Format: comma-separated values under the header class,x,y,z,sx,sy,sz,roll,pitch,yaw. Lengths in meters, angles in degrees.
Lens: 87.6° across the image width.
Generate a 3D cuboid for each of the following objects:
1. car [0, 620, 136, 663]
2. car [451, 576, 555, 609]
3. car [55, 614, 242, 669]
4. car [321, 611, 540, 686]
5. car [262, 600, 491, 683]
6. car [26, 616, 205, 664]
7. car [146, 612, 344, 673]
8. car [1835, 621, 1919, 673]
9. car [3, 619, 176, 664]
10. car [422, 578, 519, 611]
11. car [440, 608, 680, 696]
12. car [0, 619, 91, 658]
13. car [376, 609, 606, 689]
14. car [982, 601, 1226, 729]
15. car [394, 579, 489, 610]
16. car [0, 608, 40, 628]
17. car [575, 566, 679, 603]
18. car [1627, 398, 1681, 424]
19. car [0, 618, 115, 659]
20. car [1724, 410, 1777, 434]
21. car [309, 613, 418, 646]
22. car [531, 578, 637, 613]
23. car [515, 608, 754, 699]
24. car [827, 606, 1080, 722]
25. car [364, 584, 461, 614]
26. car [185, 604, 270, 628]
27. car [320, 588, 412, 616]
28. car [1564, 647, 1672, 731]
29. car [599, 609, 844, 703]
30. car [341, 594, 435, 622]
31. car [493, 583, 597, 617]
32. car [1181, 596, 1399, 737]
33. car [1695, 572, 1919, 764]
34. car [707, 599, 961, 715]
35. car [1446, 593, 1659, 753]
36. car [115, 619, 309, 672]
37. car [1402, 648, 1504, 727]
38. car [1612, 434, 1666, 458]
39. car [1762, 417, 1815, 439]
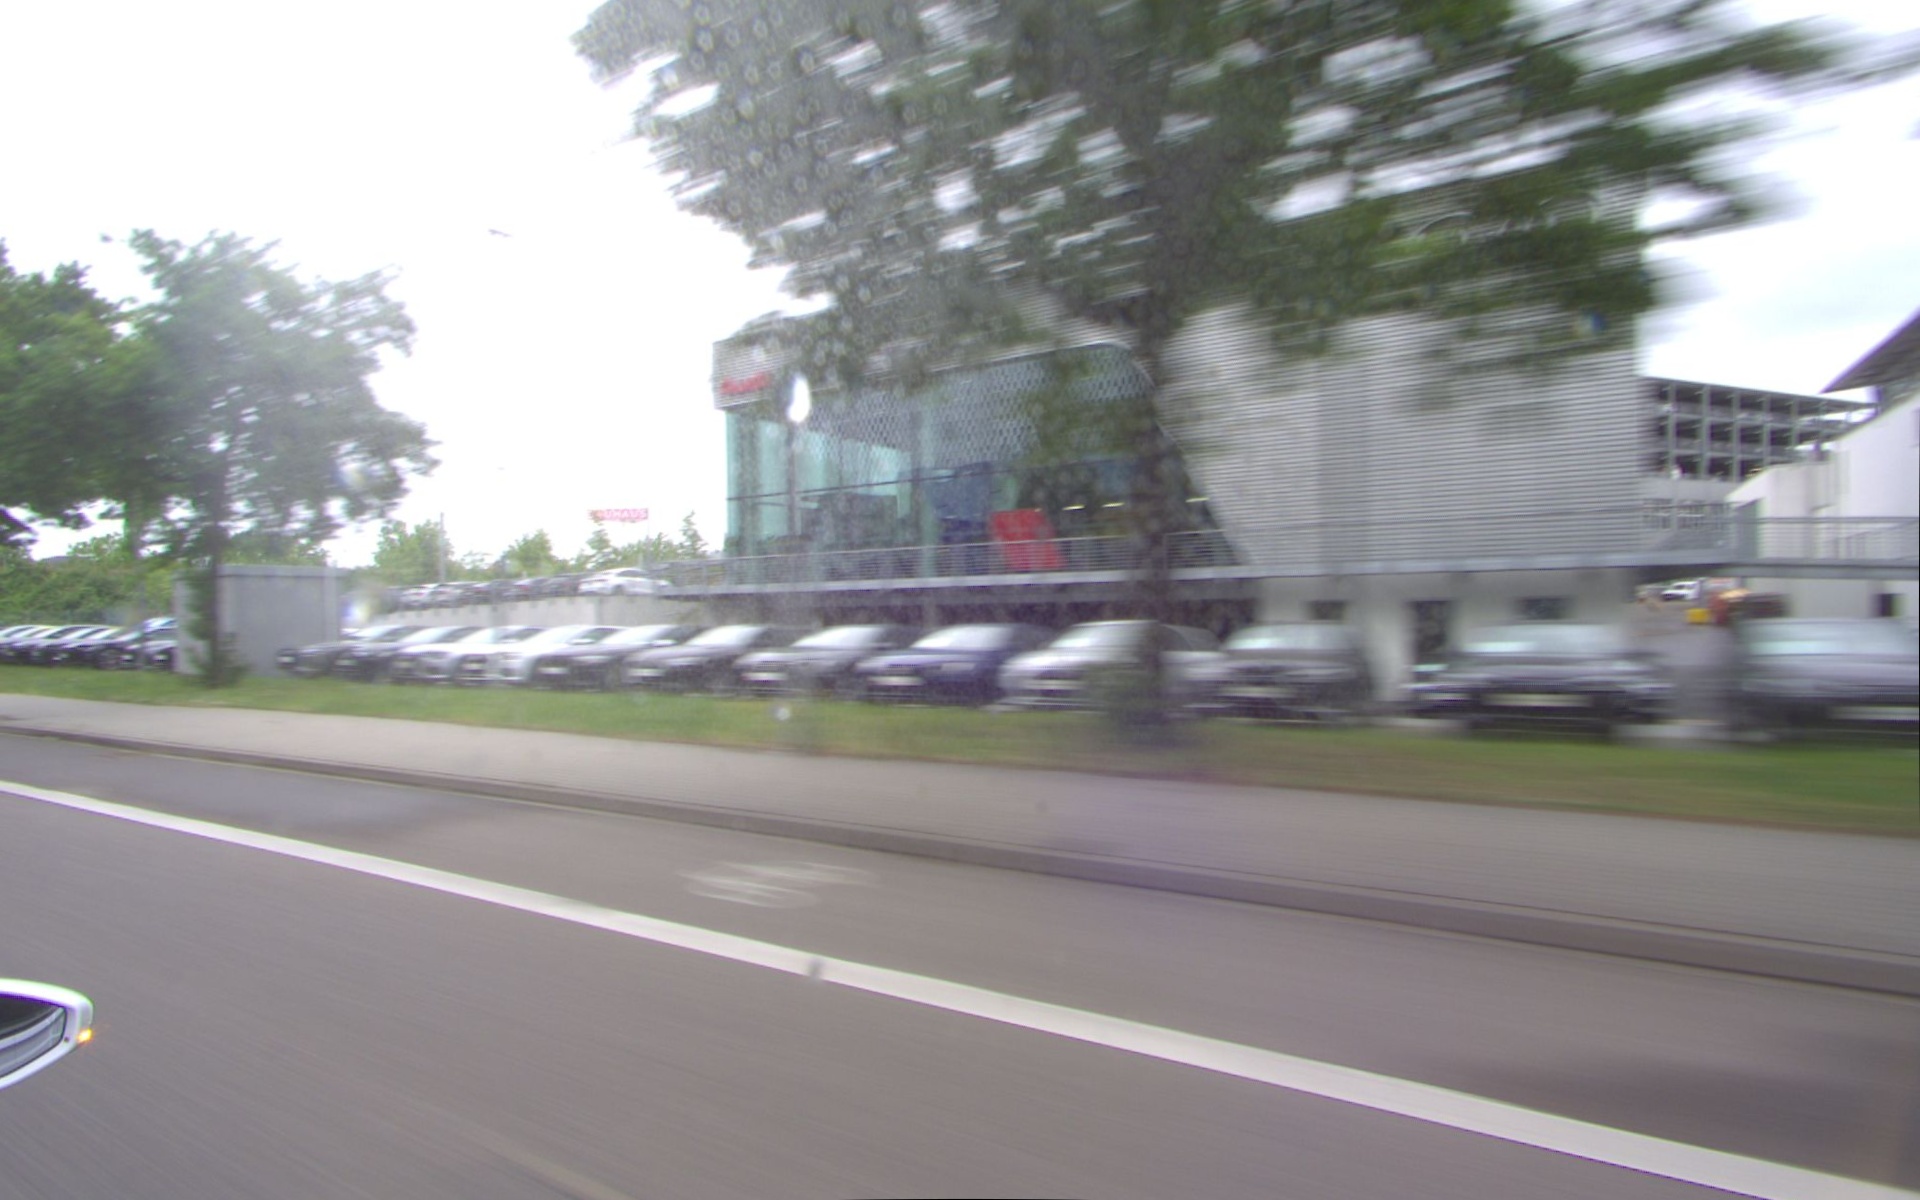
class,x,y,z,sx,sy,sz,roll,pitch,yaw
car,-33.433,1.498,37.126,1.795,1.454,4.080,1,0,31
car,-22.185,-0.340,48.783,1.854,1.516,4.330,1,0,31
car,-26.912,1.330,33.367,1.971,1.592,4.436,-1,0,31
car,-12.608,1.217,24.097,1.932,1.463,4.173,1,-5,33
car,-14.726,1.107,25.546,1.972,1.722,4.547,1,-5,33
car,-29.143,1.435,34.719,1.901,1.522,4.339,-1,-4,31
car,-20.715,1.292,29.190,1.972,1.583,4.255,-1,-5,33
car,31.719,1.570,34.366,1.844,1.655,4.117,-1,-2,31
car,-31.129,1.448,35.944,1.816,1.508,4.337,-1,-1,31
car,-24.427,-0.256,50.096,1.704,1.516,4.080,1,0,31
car,-8.431,1.174,21.507,1.971,1.538,4.391,1,-5,33
car,-37.329,1.500,39.679,1.704,1.454,4.080,1,0,31
car,-10.566,1.168,22.880,2.000,1.522,4.290,0,-6,33
car,2.226,0.972,14.347,1.930,1.504,4.194,1,-4,31
car,-26.614,-0.253,51.506,1.704,1.454,4.080,1,0,31
car,-72.233,1.355,75.489,1.708,1.454,3.972,1,0,38
car,-14.991,-0.691,45.276,1.854,1.516,4.330,1,0,31
car,68.952,-18.782,99.593,1.967,1.689,3.987,0,0,-22
car,-35.389,1.452,38.474,1.819,1.454,4.080,1,0,31
car,83.237,-18.687,105.471,1.967,1.689,3.987,0,0,-22
car,-27.906,1.357,46.969,1.704,1.454,4.080,1,0,31
car,-17.456,-0.175,46.661,2.038,1.516,4.329,1,0,31
car,-6.348,1.125,19.986,1.972,1.486,4.173,1,-5,33
car,0.060,1.041,15.637,1.948,1.504,4.179,1,-4,32
car,-28.789,-0.039,52.758,1.918,1.454,4.080,1,0,31
car,-47.379,1.045,64.831,1.704,1.454,4.080,1,0,31
car,-32.930,0.126,55.603,1.704,1.454,4.080,1,0,31
car,13.069,1.694,20.046,1.626,1.382,3.750,1,0,31
car,-4.237,1.084,18.427,1.906,1.473,4.172,1,-4,33
car,-30.710,0.457,53.887,1.704,1.454,4.080,1,0,31
car,-19.763,0.023,47.863,1.941,1.516,4.329,1,0,31
car,4.443,0.911,13.048,1.792,1.503,4.062,1,-5,31
car,9.026,0.808,10.396,1.848,1.621,4.237,1,-6,31
car,-1.978,1.020,16.966,1.972,1.682,4.172,1,-4,33
car,6.967,0.925,11.814,1.799,1.503,4.208,1,-6,31
car,-22.693,1.433,30.533,1.972,1.409,4.288,-1,-5,33
car,10.668,1.802,21.554,1.626,1.382,3.750,1,0,31
car,66.607,-15.070,98.276,1.967,1.689,3.987,0,0,-22
car,90.062,-18.704,108.953,1.967,1.689,3.987,0,0,-22
